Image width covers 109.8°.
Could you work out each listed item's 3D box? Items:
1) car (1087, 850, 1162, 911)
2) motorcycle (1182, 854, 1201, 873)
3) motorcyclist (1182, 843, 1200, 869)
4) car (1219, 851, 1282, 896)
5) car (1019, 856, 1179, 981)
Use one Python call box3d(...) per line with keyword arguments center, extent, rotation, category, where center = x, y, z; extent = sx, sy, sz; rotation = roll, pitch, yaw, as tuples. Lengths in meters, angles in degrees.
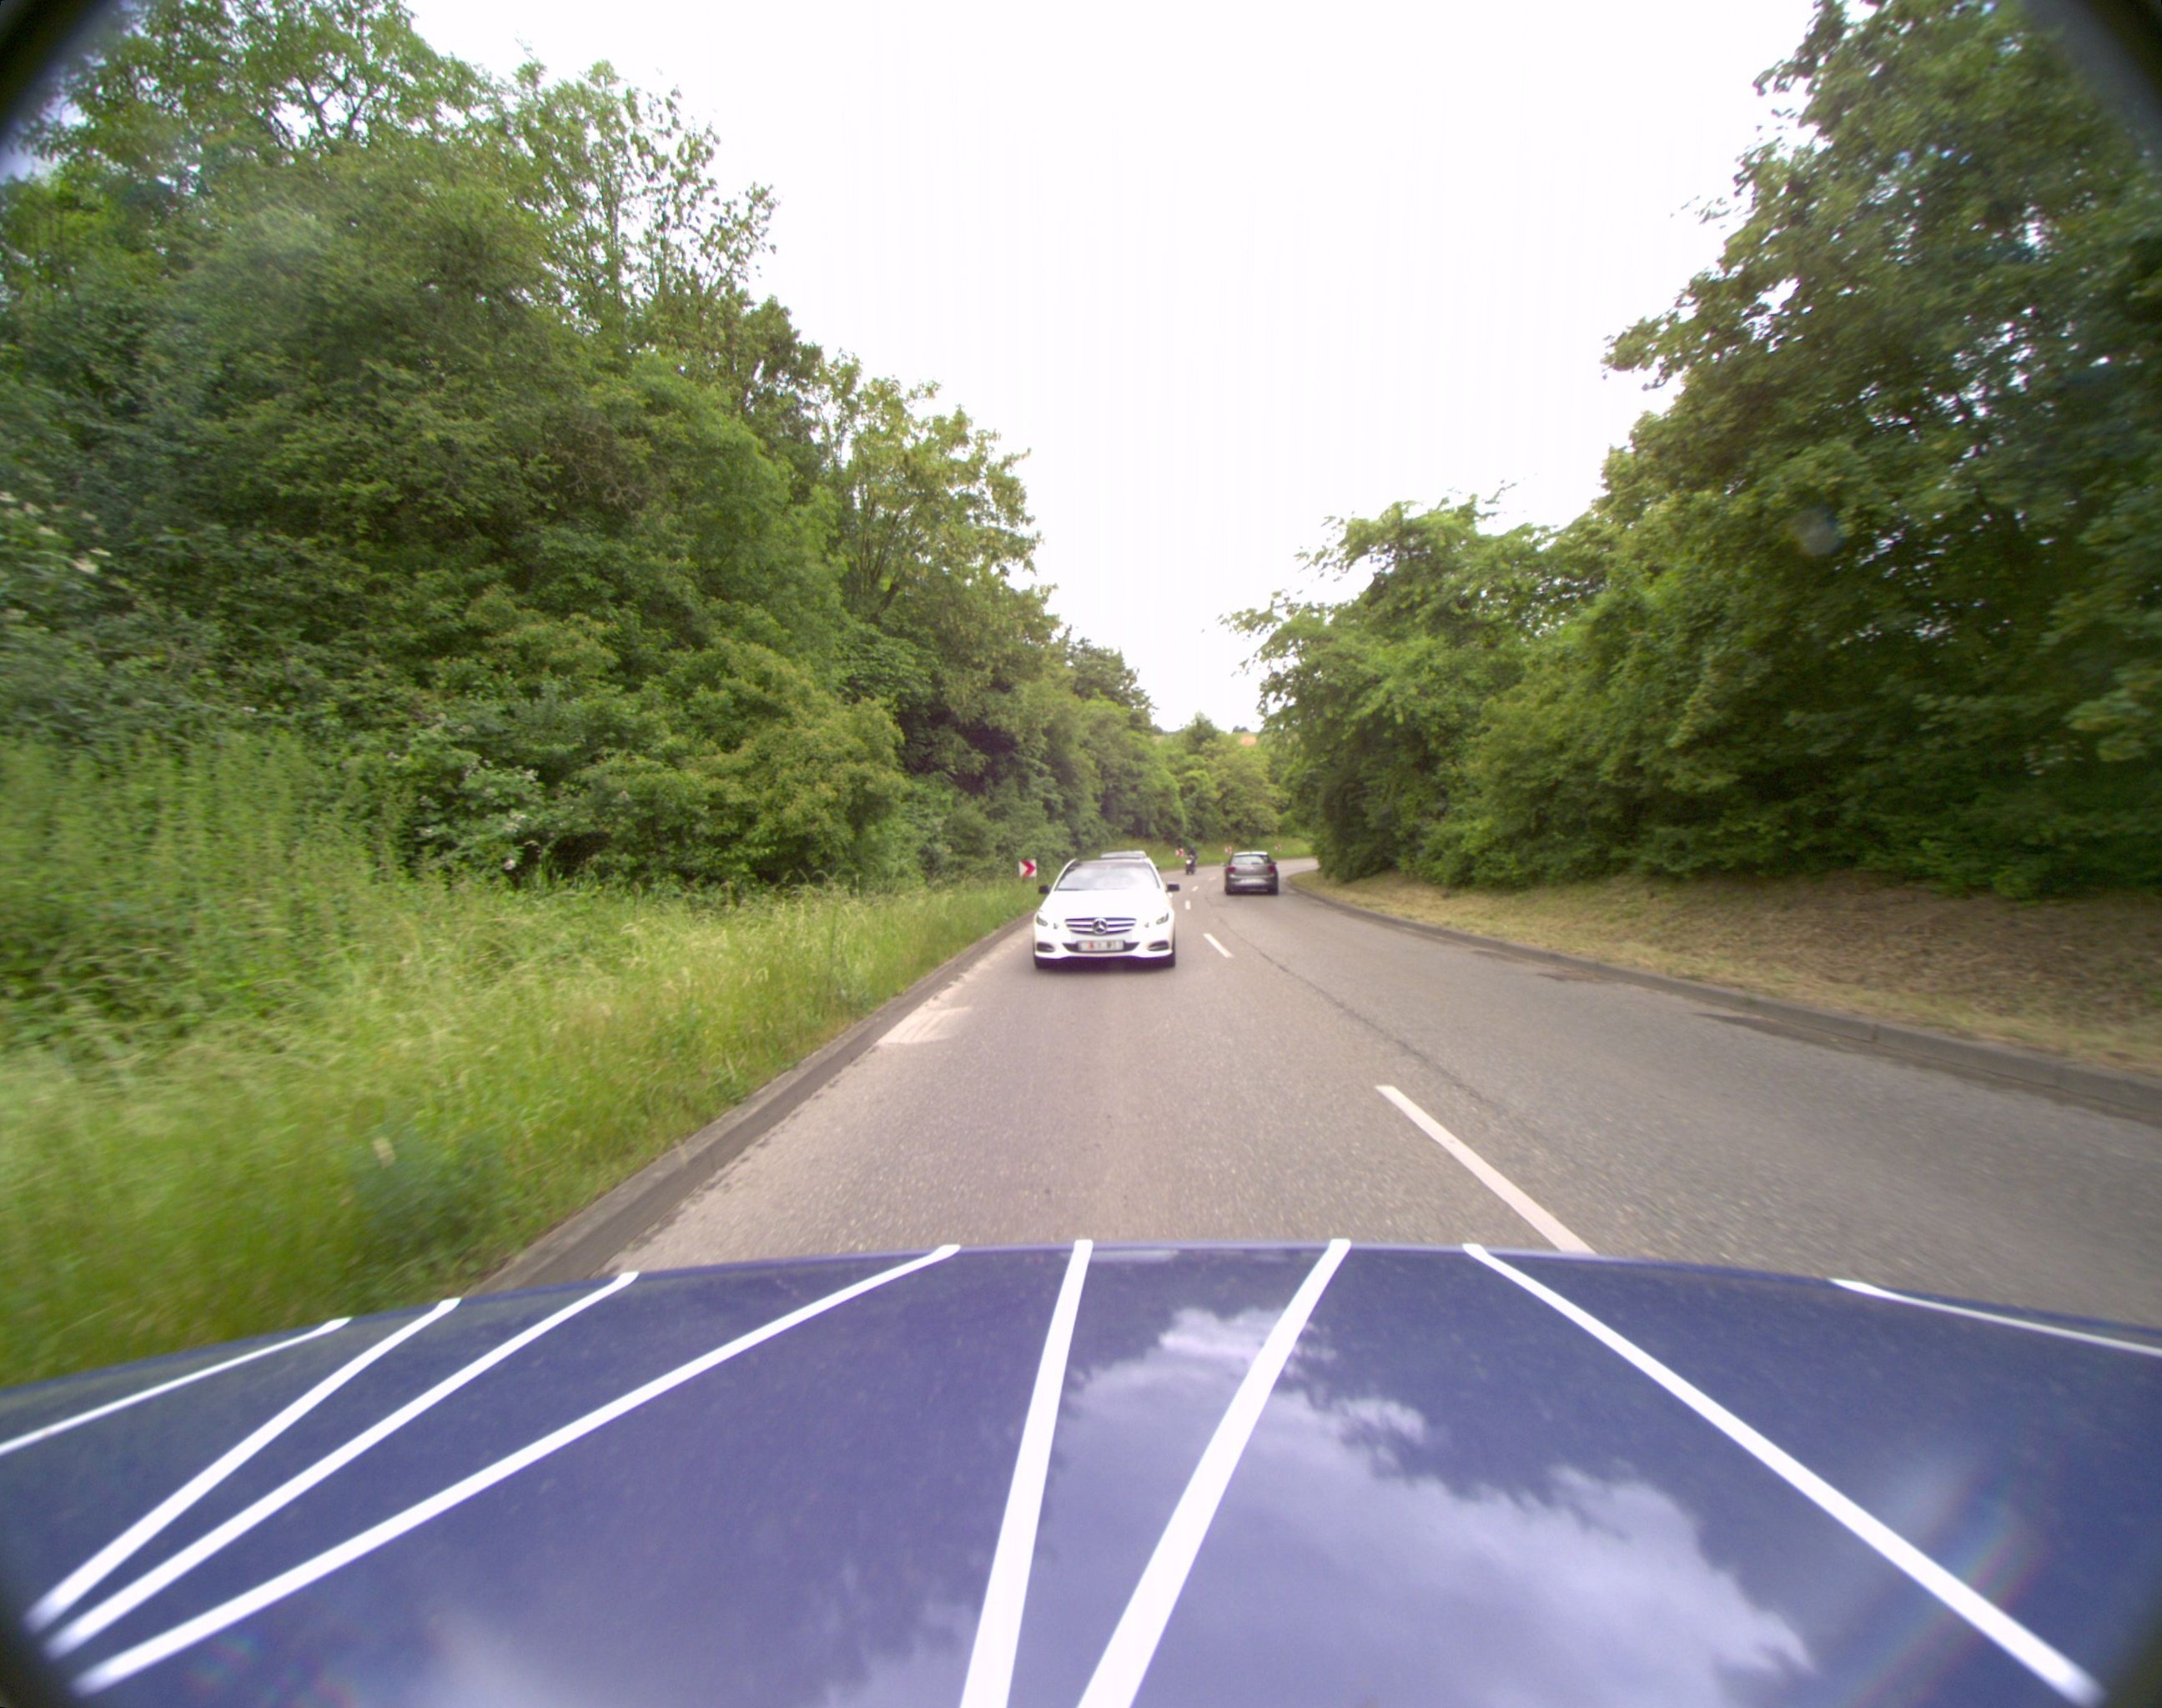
box3d(center=(1.344, 0.697, 21.884), extent=(1.821, 1.535, 3.727), rotation=(-2, 0, 8), category="car")
box3d(center=(6.315, 0.536, 43.463), extent=(0.701, 0.970, 1.697), rotation=(2, 2, 22), category="motorcycle")
box3d(center=(6.281, 0.096, 43.326), extent=(0.817, 1.457, 0.788), rotation=(2, 2, 22), category="motorcyclist")
box3d(center=(5.764, 0.617, 26.150), extent=(1.637, 1.397, 3.598), rotation=(-2, 0, 5), category="car")
box3d(center=(0.409, 0.796, 11.215), extent=(1.886, 1.414, 4.001), rotation=(-2, 0, 6), category="car")
